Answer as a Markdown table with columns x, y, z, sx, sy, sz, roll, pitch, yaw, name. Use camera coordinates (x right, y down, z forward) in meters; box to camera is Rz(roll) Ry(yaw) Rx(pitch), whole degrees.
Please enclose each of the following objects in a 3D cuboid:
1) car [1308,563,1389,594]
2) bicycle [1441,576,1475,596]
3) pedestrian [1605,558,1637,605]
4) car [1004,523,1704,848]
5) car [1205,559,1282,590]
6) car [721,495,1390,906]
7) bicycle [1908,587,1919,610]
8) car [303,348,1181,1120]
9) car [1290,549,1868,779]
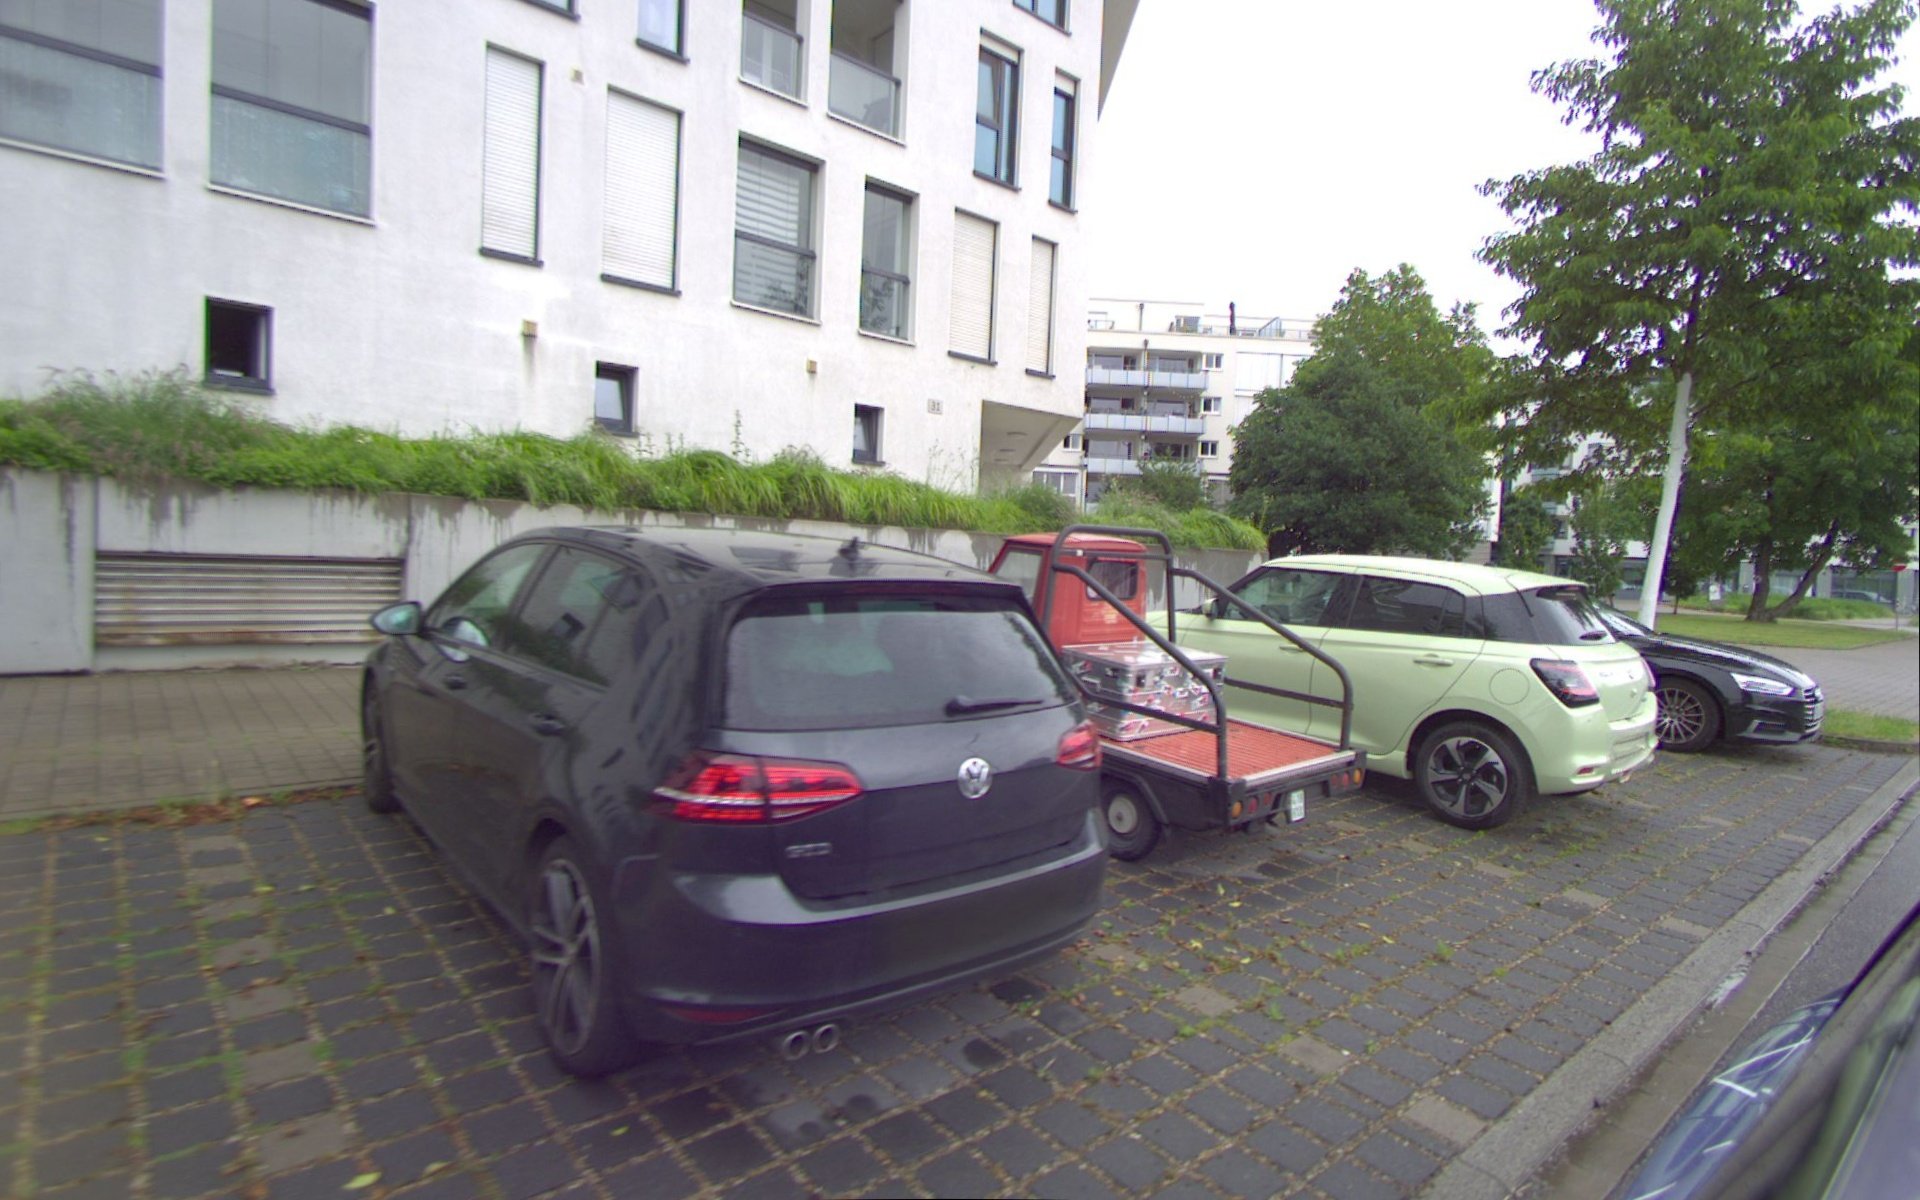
| x | y | z | sx | sy | sz | roll | pitch | yaw | name |
| --- | --- | --- | --- | --- | --- | --- | --- | --- | --- |
| 22.861 | -1.283 | 59.642 | 4.041 | 1.567 | 1.736 | 2 | 2 | -2 | car |
| 29.401 | -0.855 | 59.766 | 0.712 | 1.100 | 2.485 | 3 | 2 | 0 | bicycle |
| 29.820 | -0.834 | 45.677 | 0.611 | 2.038 | 0.967 | 1 | 3 | -40 | pedestrian |
| 2.499 | 0.316 | 7.486 | 1.662 | 1.498 | 4.500 | 0 | 6 | -40 | car |
| 16.656 | -1.512 | 59.515 | 3.923 | 1.567 | 1.736 | 2 | 2 | -2 | car |
| 0.229 | 0.256 | 6.135 | 1.606 | 1.573 | 3.999 | 0 | 6 | -40 | car |
| 66.567 | -0.036 | 69.369 | 0.617 | 1.541 | 2.201 | 2 | 3 | -20 | bicycle |
| -1.258 | 0.183 | 3.953 | 1.565 | 1.492 | 3.962 | 0 | 2 | -42 | car |
| 5.932 | 0.415 | 10.241 | 1.794 | 1.514 | 4.582 | 0 | 6 | -41 | car |
